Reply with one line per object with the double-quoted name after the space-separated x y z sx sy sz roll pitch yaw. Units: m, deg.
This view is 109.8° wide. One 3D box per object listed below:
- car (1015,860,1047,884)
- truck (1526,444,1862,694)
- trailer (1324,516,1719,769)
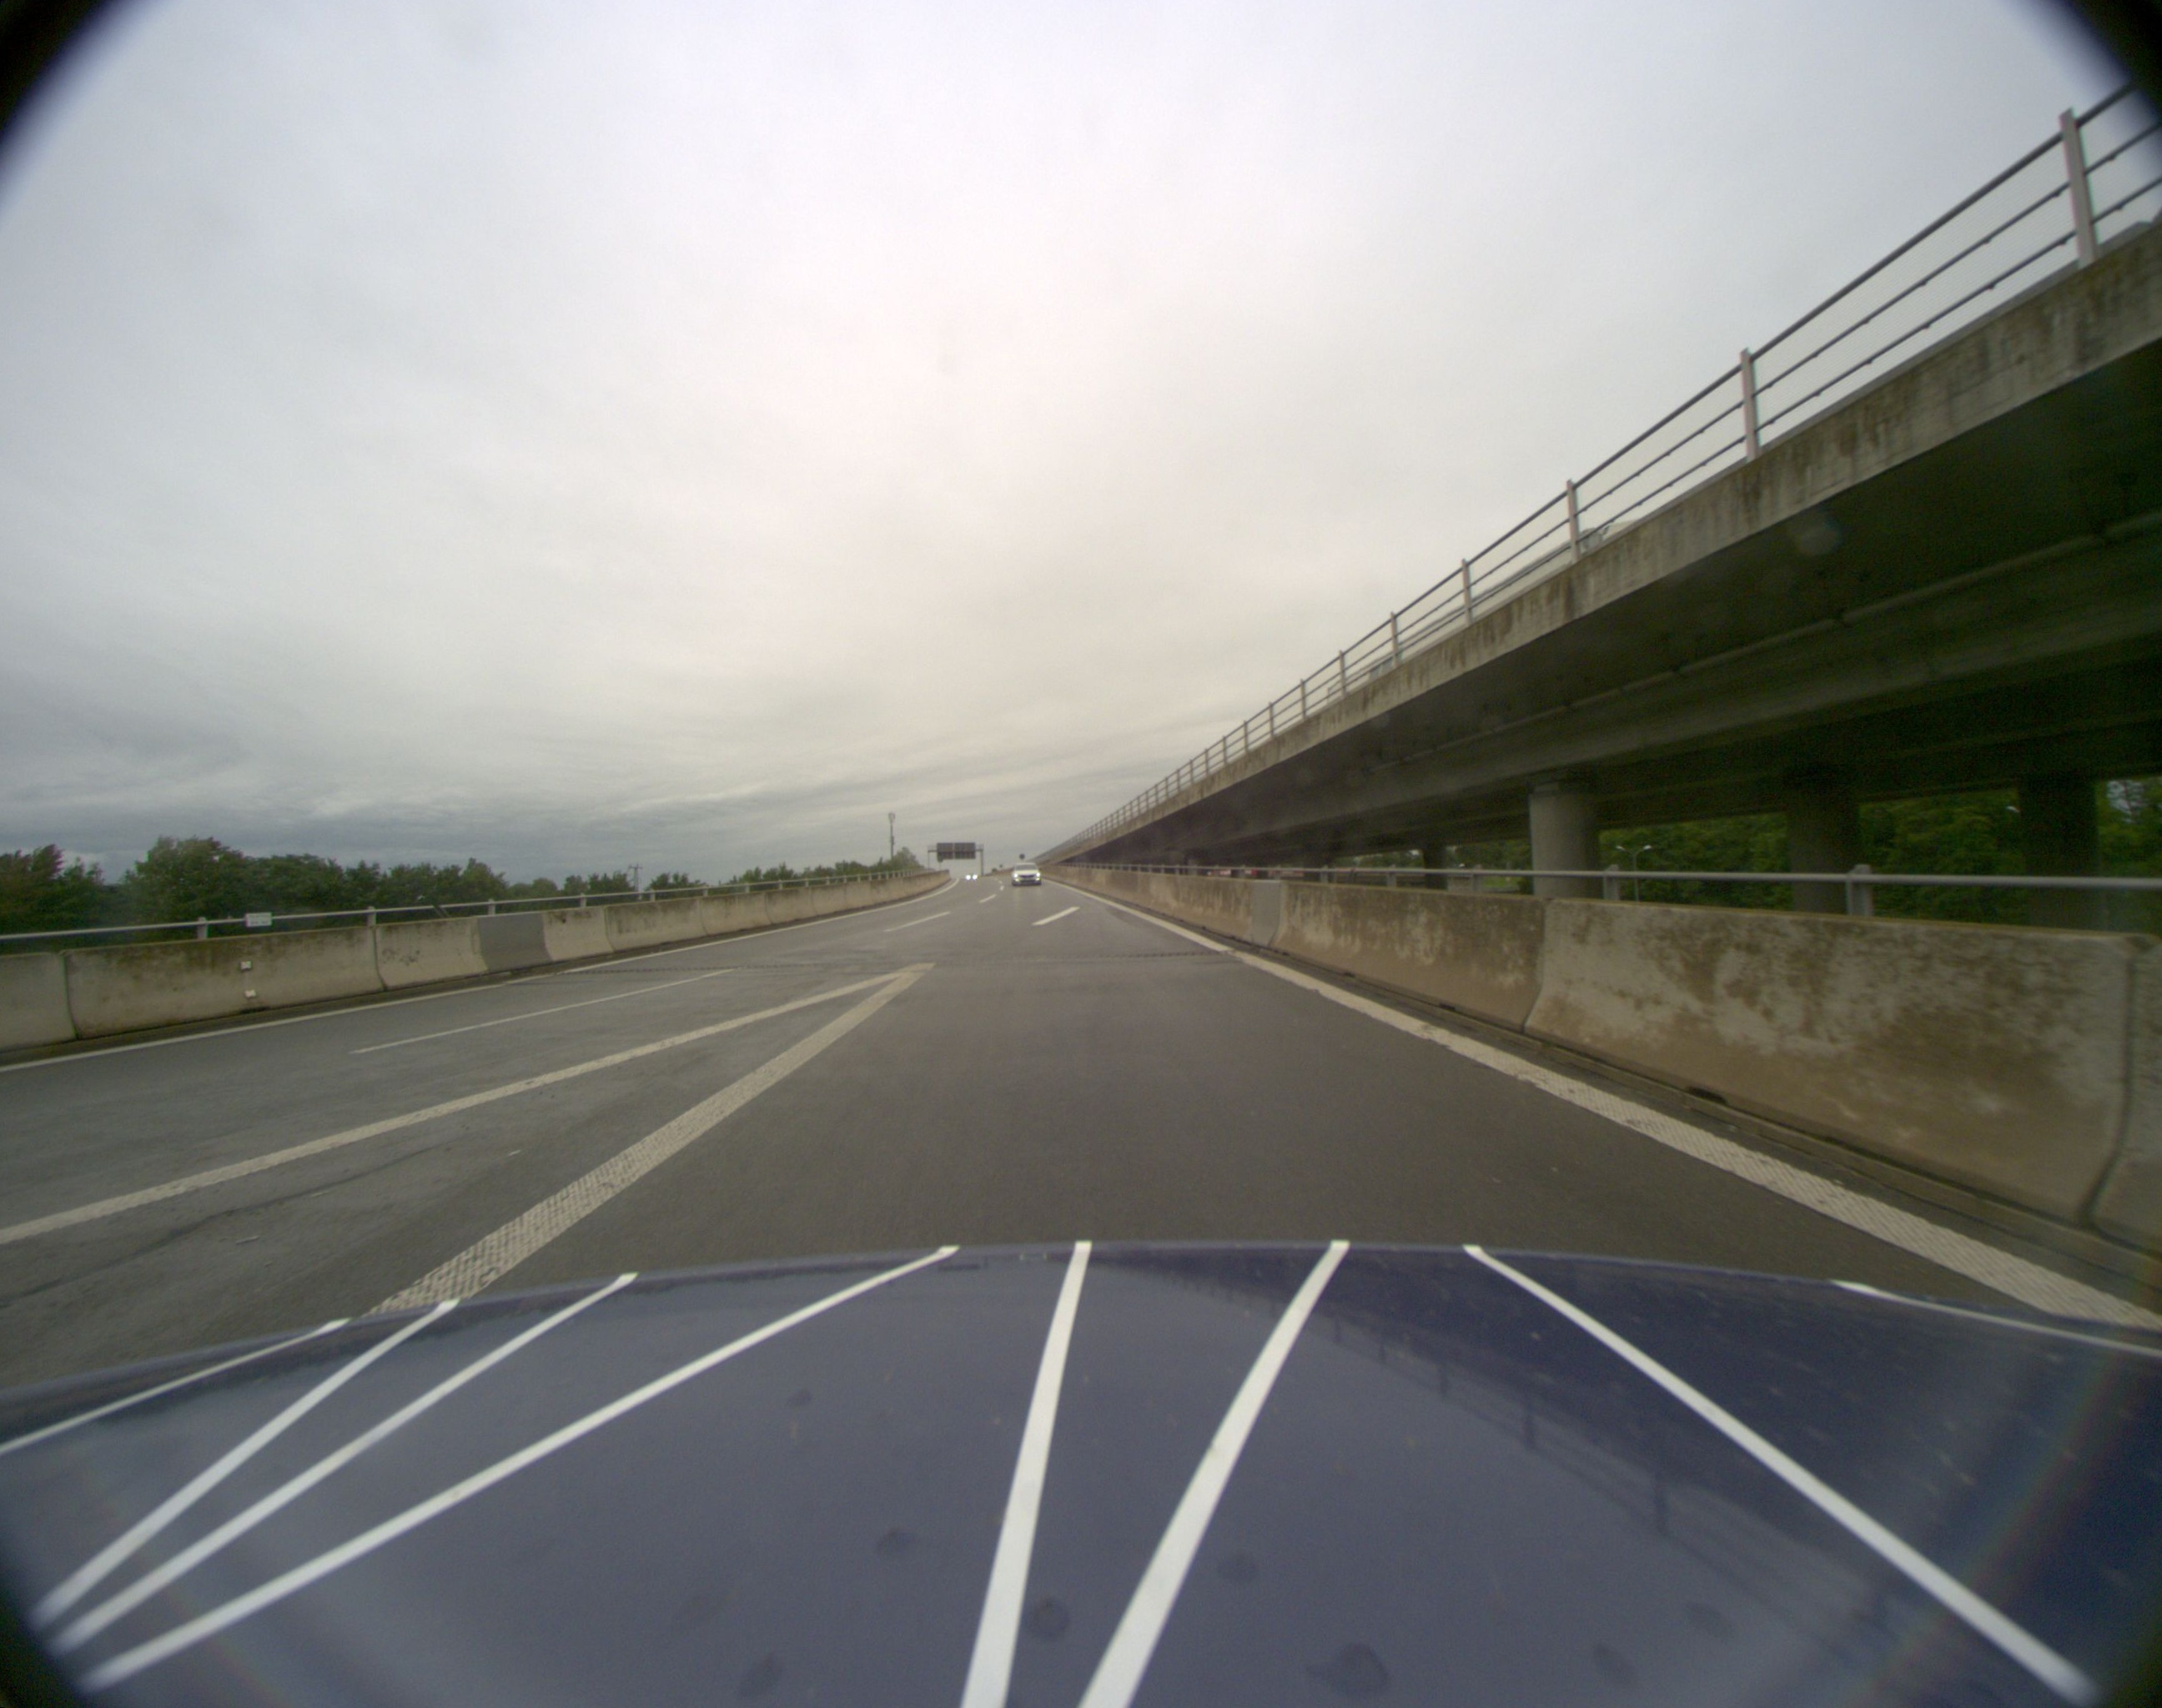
-3.295 1.153 49.202 1.915 1.439 4.555 -1 -1 -5 "car"
12.934 -5.856 16.704 2.596 3.225 5.195 -3 -3 -7 "truck"
12.058 -5.516 23.880 2.666 3.277 14.059 -3 -3 -7 "trailer"
